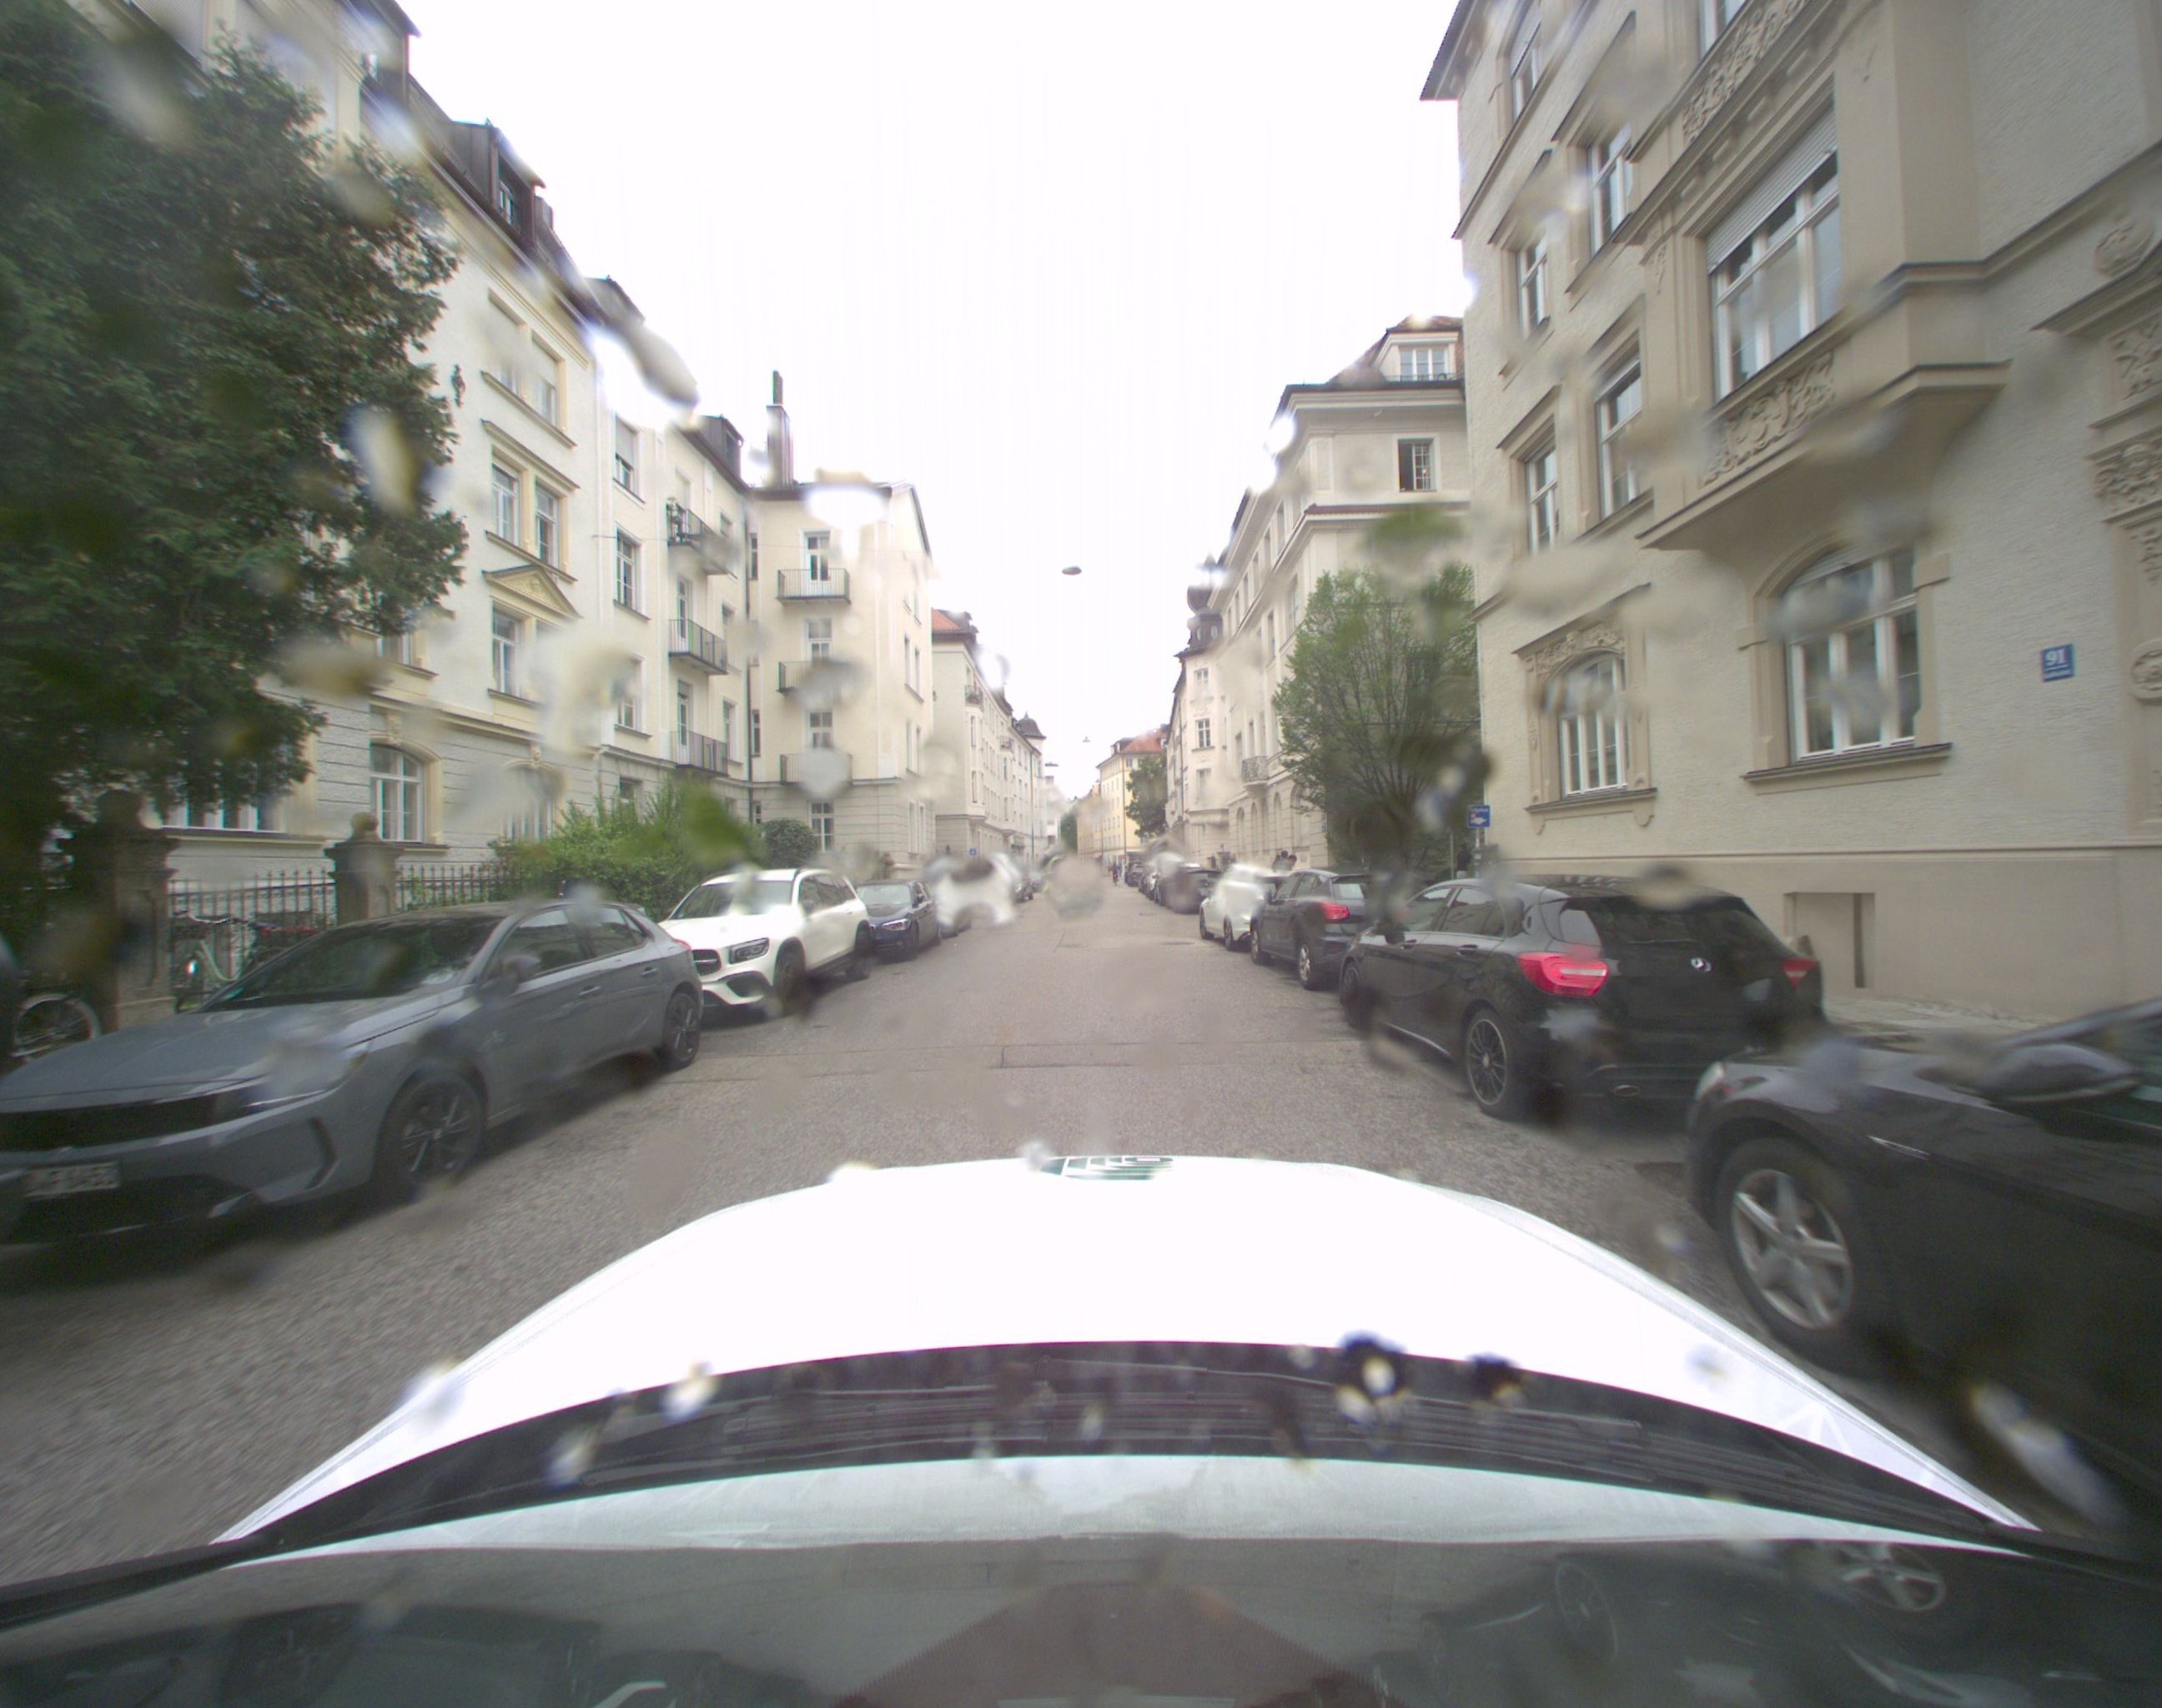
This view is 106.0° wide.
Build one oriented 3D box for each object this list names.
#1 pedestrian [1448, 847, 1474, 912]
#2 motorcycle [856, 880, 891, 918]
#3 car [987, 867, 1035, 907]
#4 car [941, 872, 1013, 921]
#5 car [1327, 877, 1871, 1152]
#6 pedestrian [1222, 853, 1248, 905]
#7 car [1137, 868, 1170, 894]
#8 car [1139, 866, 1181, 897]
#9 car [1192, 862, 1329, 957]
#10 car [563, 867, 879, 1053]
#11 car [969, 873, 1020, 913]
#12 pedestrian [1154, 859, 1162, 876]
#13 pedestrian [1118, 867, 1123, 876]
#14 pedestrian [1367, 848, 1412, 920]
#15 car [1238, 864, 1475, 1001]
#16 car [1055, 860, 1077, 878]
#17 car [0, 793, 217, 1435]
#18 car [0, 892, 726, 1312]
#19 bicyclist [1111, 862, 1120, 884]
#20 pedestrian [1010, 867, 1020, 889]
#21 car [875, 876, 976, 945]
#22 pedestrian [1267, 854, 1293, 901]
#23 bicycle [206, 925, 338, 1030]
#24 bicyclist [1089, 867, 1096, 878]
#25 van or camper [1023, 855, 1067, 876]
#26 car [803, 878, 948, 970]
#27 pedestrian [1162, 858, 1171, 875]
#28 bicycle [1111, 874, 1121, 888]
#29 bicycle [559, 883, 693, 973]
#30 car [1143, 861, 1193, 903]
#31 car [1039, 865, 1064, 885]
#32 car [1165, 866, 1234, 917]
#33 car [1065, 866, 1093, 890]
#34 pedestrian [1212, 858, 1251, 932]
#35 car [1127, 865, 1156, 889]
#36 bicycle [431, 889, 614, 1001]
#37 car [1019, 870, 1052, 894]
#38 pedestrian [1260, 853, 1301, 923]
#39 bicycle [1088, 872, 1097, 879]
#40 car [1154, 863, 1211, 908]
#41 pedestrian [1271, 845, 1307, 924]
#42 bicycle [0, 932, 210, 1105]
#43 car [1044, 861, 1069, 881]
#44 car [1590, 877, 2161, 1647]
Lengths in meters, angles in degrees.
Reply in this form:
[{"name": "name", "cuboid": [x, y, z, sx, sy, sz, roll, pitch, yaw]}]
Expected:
[{"name": "pedestrian", "cuboid": [10.644, 0.713, 22.802, 0.547, 1.794, 0.577, -3, -1, 31]}, {"name": "motorcycle", "cuboid": [-7.152, 1.531, 28.153, 0.702, 1.249, 1.820, 0, -1, 0]}, {"name": "car", "cuboid": [-3.222, 1.508, 38.429, 1.690, 1.580, 4.063, -4, 0, 2]}, {"name": "car", "cuboid": [-3.422, 1.372, 27.531, 1.791, 1.435, 4.080, -2, -1, 1]}, {"name": "car", "cuboid": [3.302, 0.889, 6.262, 1.735, 1.398, 4.024, 0, -1, 2]}, {"name": "pedestrian", "cuboid": [5.493, 0.883, 29.111, 0.679, 1.775, 0.855, -5, 0, 2]}, {"name": "car", "cuboid": [4.111, 1.500, 46.562, 1.607, 1.395, 4.000, 0, -1, 1]}, {"name": "car", "cuboid": [4.073, 1.376, 42.402, 1.703, 1.501, 3.997, -1, -1, -1]}, {"name": "car", "cuboid": [3.310, 0.952, 15.772, 1.658, 1.507, 4.062, -1, 0, -1]}, {"name": "car", "cuboid": [-4.029, 1.059, 10.097, 1.800, 1.648, 4.485, -3, -1, 0]}, {"name": "car", "cuboid": [-3.497, 1.542, 33.622, 1.640, 1.403, 3.998, -4, -1, -1]}, {"name": "pedestrian", "cuboid": [7.834, 1.348, 82.603, 0.701, 1.728, 0.703, -3, -1, -1]}, {"name": "pedestrian", "cuboid": [5.848, 2.624, 119.649, 0.695, 1.270, 0.652, -3, -1, 6]}, {"name": "pedestrian", "cuboid": [7.966, 0.768, 21.066, 0.856, 1.817, 0.678, -1, 0, 0]}, {"name": "car", "cuboid": [3.538, 0.917, 11.307, 1.787, 1.498, 4.079, 1, 0, -2]}, {"name": "car", "cuboid": [-1.524, 1.478, 83.462, 1.834, 1.757, 4.004, -2, -1, 4]}, {"name": "car", "cuboid": [-4.194, 0.776, 0.582, 1.905, 1.886, 4.817, -3, -1, 1]}, {"name": "car", "cuboid": [-4.003, 1.095, 5.191, 1.637, 1.430, 3.918, -5, -1, 0]}, {"name": "bicyclist", "cuboid": [2.609, 1.410, 61.438, 0.603, 1.606, 0.758, -2, -1, 5]}, {"name": "pedestrian", "cuboid": [-5.198, 1.887, 63.771, 0.695, 1.707, 0.665, -2, -1, -1]}, {"name": "car", "cuboid": [-3.736, 1.313, 20.295, 1.730, 1.365, 4.190, -4, 0, -2]}, {"name": "pedestrian", "cuboid": [7.355, 0.853, 30.132, 0.680, 1.679, 0.812, -4, 0, 0]}, {"name": "bicycle", "cuboid": [-9.170, 1.390, 9.244, 1.133, 1.103, 0.393, -2, 0, 3]}, {"name": "bicyclist", "cuboid": [1.775, 2.888, 125.991, 0.782, 1.637, 0.972, -1, -1, -13]}, {"name": "van or camper", "cuboid": [-4.976, 1.638, 112.984, 5.898, 2.677, 1.868, -2, -3, -7]}, {"name": "car", "cuboid": [-3.679, 1.204, 15.297, 1.763, 1.420, 3.997, -1, -1, -1]}, {"name": "pedestrian", "cuboid": [8.728, 1.317, 82.987, 0.678, 1.674, 0.654, -4, -1, -1]}, {"name": "bicycle", "cuboid": [2.624, 2.001, 61.353, 0.636, 1.004, 1.576, -2, -1, 5]}, {"name": "bicycle", "cuboid": [-7.759, 1.204, 14.067, 0.752, 1.297, 2.531, -3, -1, 2]}, {"name": "car", "cuboid": [3.856, 1.193, 36.641, 1.888, 1.636, 4.394, -2, 0, 2]}, {"name": "car", "cuboid": [-2.220, 1.548, 61.323, 1.806, 1.385, 4.439, -3, -1, -2]}, {"name": "car", "cuboid": [3.774, 1.154, 26.557, 1.705, 1.452, 4.225, -1, 0, 1]}, {"name": "car", "cuboid": [-0.109, 1.722, 58.731, 1.718, 1.533, 4.087, -4, -1, 2]}, {"name": "pedestrian", "cuboid": [3.505, 0.940, 18.934, 0.845, 1.658, 0.869, -2, -1, 11]}, {"name": "car", "cuboid": [4.260, 1.592, 57.678, 1.702, 1.588, 3.999, 0, 0, 0]}, {"name": "bicycle", "cuboid": [-7.694, 1.189, 11.421, 0.693, 1.260, 2.531, -3, -1, 2]}, {"name": "car", "cuboid": [-2.880, 1.747, 52.245, 1.844, 1.367, 4.700, -2, -1, -1]}, {"name": "pedestrian", "cuboid": [5.179, 0.872, 21.186, 0.879, 1.769, 0.672, -2, 0, 0]}, {"name": "bicycle", "cuboid": [1.762, 3.268, 126.103, 0.847, 1.001, 2.160, -1, -1, -12]}, {"name": "car", "cuboid": [3.780, 1.143, 30.965, 1.742, 1.525, 4.171, -1, -1, 2]}, {"name": "pedestrian", "cuboid": [4.779, 0.700, 18.753, 0.625, 1.769, 0.673, -2, 0, 1]}, {"name": "bicycle", "cuboid": [-7.975, 1.248, 6.331, 0.488, 1.097, 1.765, -1, 0, 0]}, {"name": "car", "cuboid": [-1.964, 1.380, 66.268, 1.736, 1.487, 4.181, -2, -1, 1]}, {"name": "car", "cuboid": [2.865, 0.792, 1.346, 1.635, 1.417, 4.002, -1, -1, 2]}]
